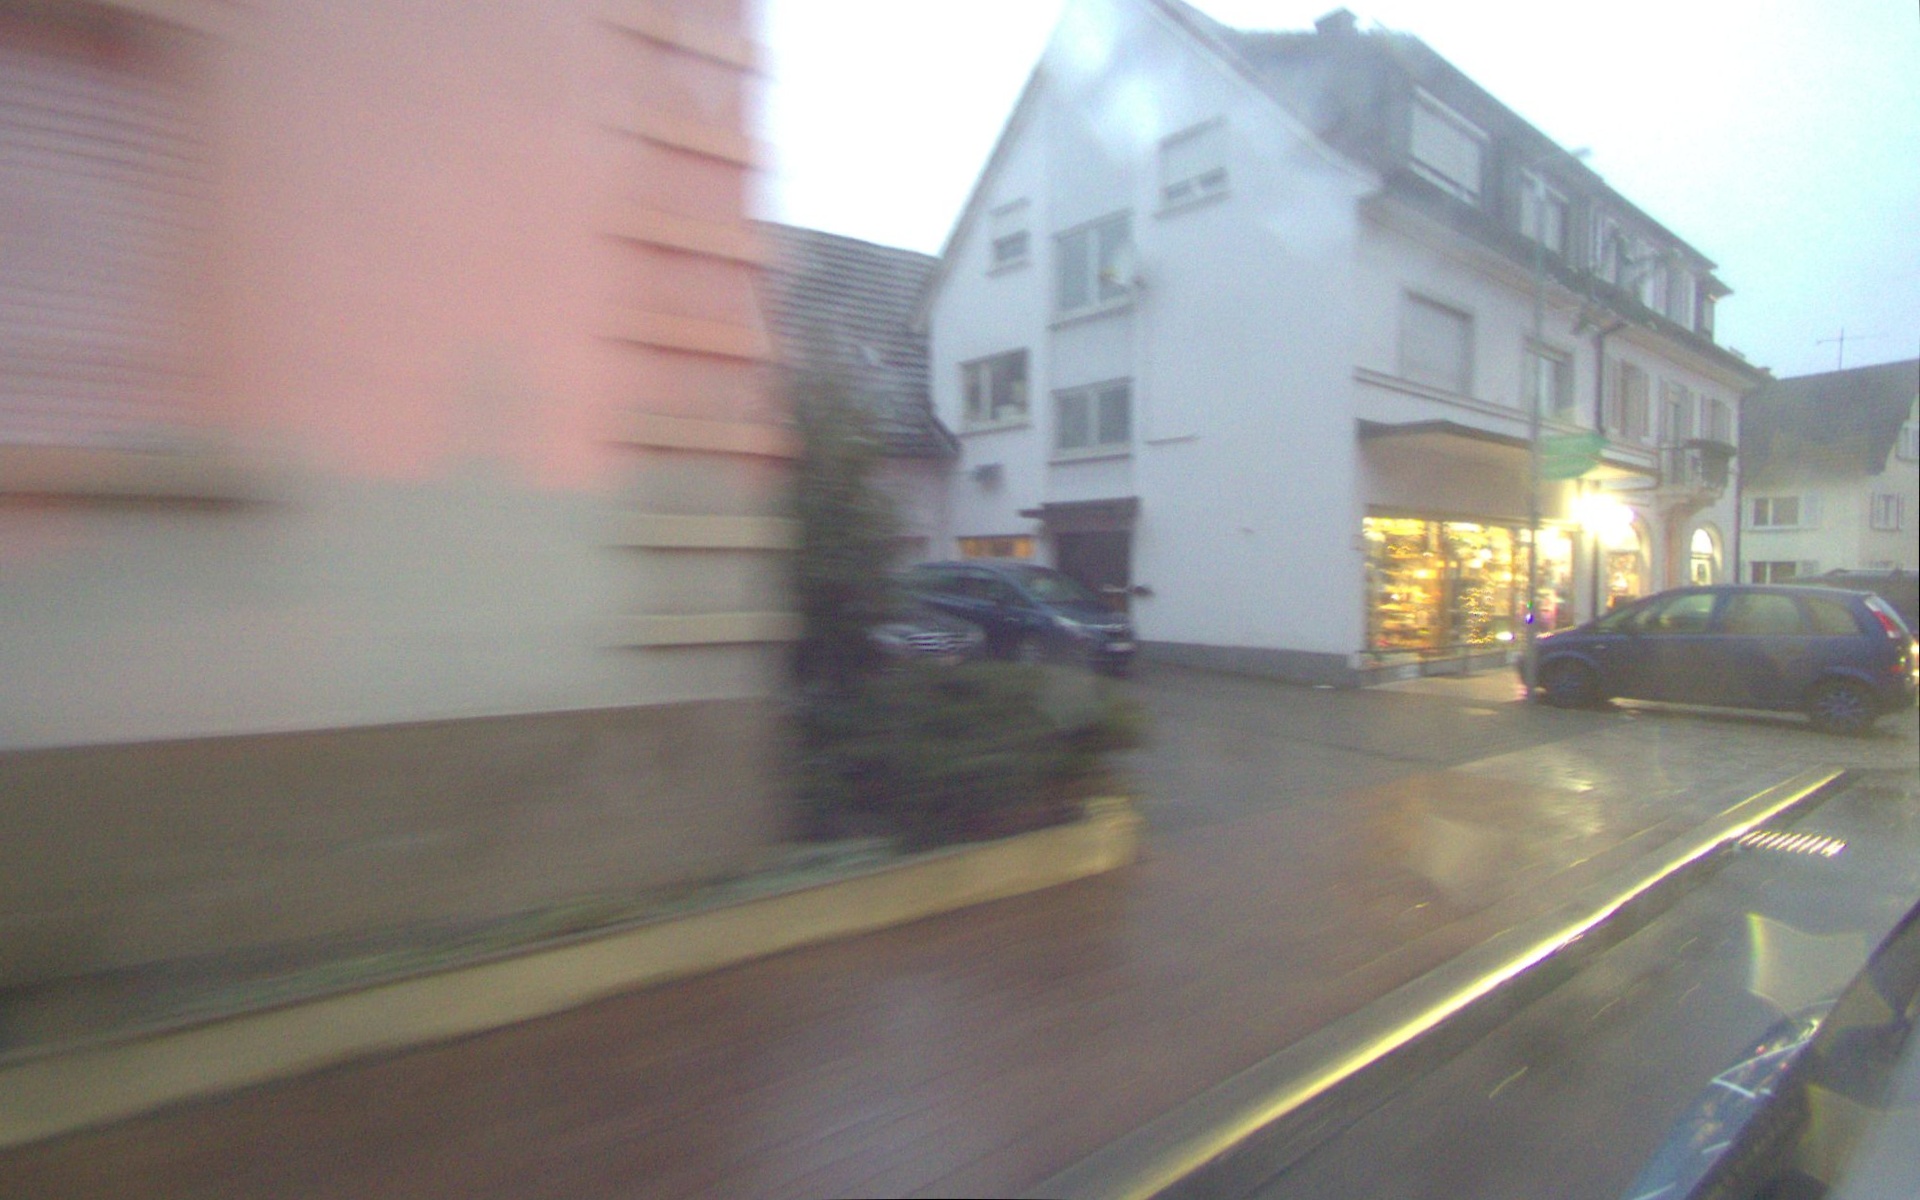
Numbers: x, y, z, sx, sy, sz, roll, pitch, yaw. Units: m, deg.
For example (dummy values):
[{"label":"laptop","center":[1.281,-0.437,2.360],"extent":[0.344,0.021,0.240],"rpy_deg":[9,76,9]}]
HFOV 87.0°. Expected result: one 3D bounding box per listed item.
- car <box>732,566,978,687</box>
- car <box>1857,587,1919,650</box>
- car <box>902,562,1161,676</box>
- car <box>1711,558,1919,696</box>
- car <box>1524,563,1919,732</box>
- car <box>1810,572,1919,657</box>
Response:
[{"label":"car","center":[-1.642,0.272,14.695],"extent":[1.835,1.486,3.804],"rpy_deg":[0,2,-38]},{"label":"car","center":[22.828,0.468,22.654],"extent":[1.523,1.384,3.888],"rpy_deg":[0,2,-39]},{"label":"car","center":[1.004,0.212,15.925],"extent":[1.715,1.549,3.994],"rpy_deg":[1,1,-41]},{"label":"car","center":[13.754,0.365,15.051],"extent":[1.838,1.900,3.882],"rpy_deg":[0,2,-44]},{"label":"car","center":[9.202,0.440,12.208],"extent":[1.584,1.648,3.847],"rpy_deg":[0,2,-43]},{"label":"car","center":[20.751,0.323,21.469],"extent":[1.683,1.754,3.888],"rpy_deg":[0,2,-39]}]
